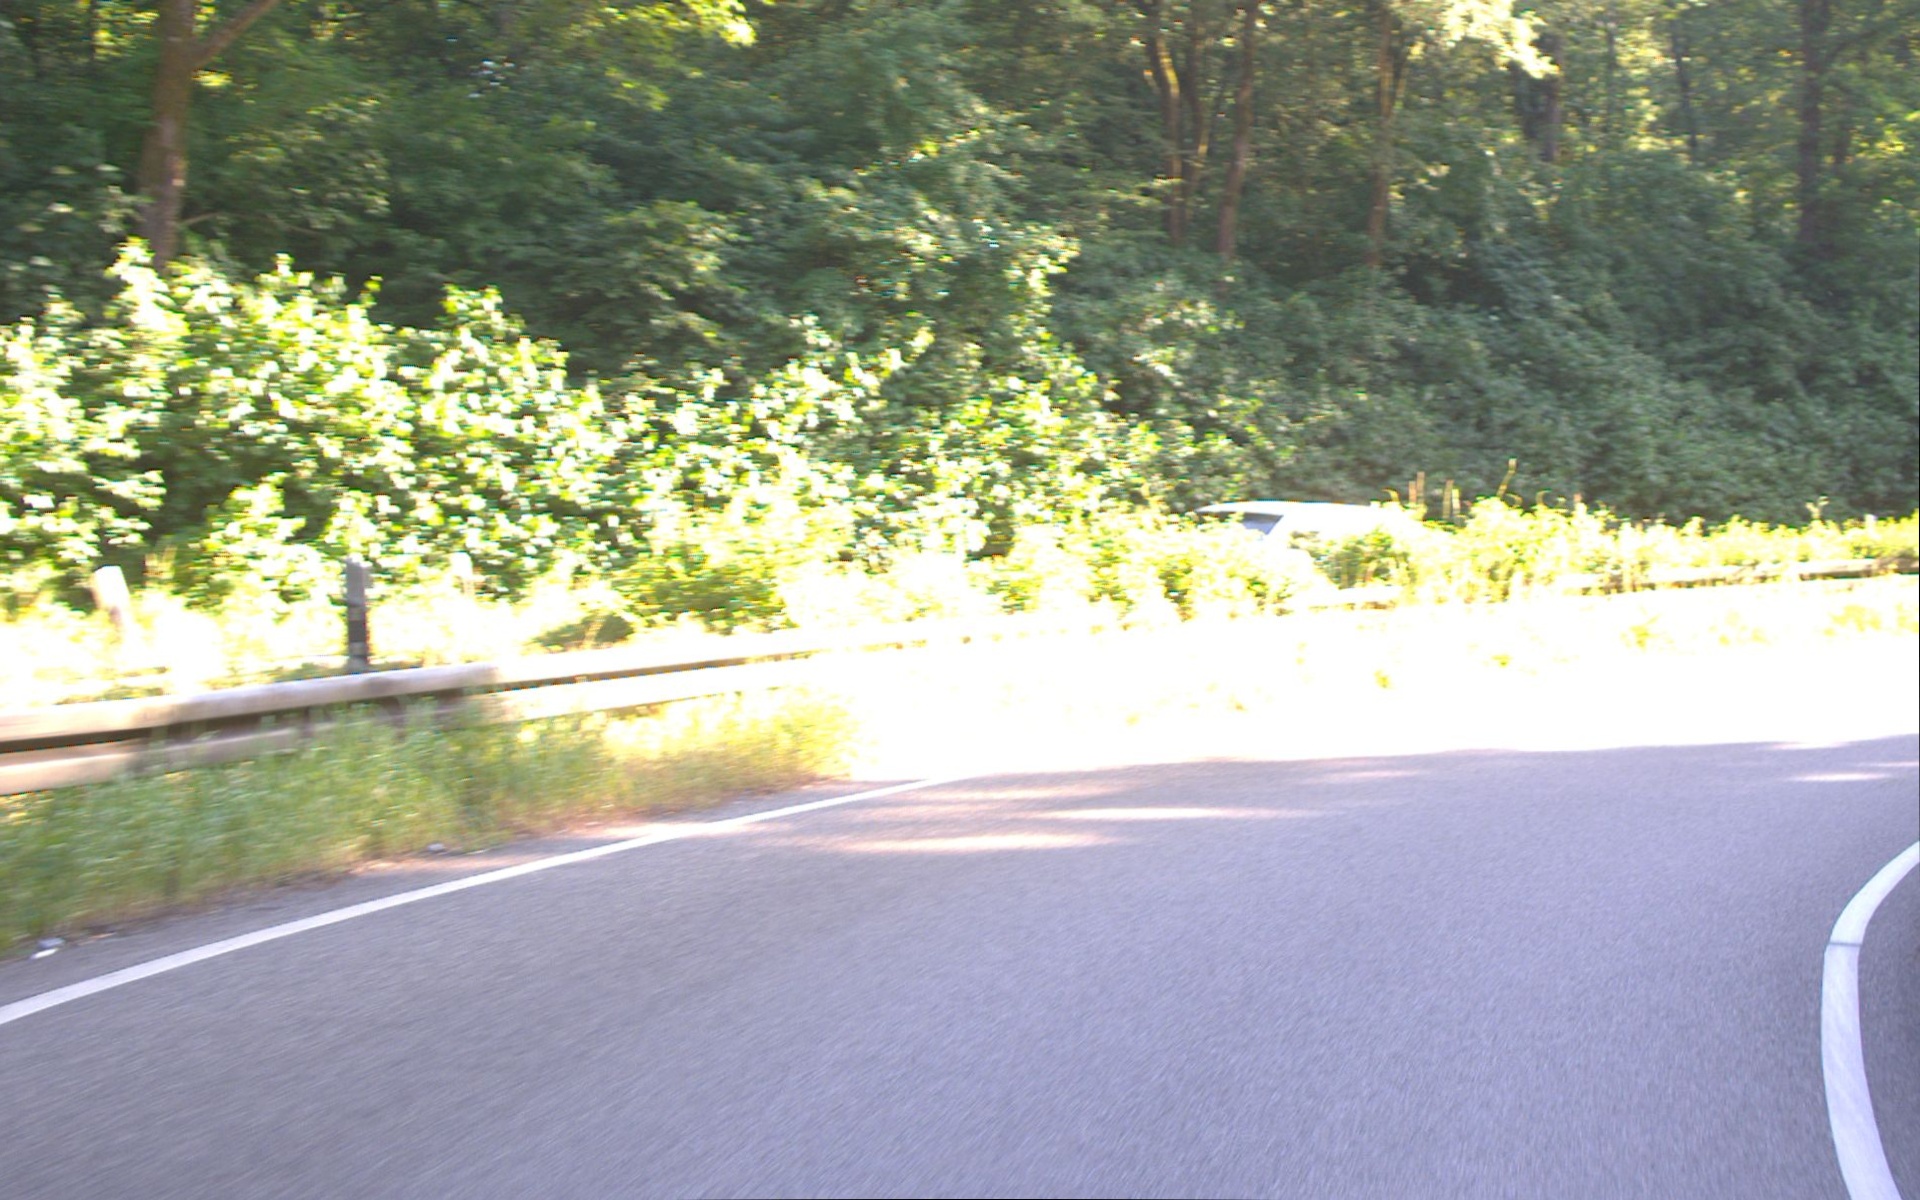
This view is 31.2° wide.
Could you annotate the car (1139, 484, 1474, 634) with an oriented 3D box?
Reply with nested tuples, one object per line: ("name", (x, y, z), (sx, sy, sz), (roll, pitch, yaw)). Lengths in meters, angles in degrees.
("car", (3.708, -0.464, 36.230), (1.725, 1.482, 3.992), (0, 2, 36))
